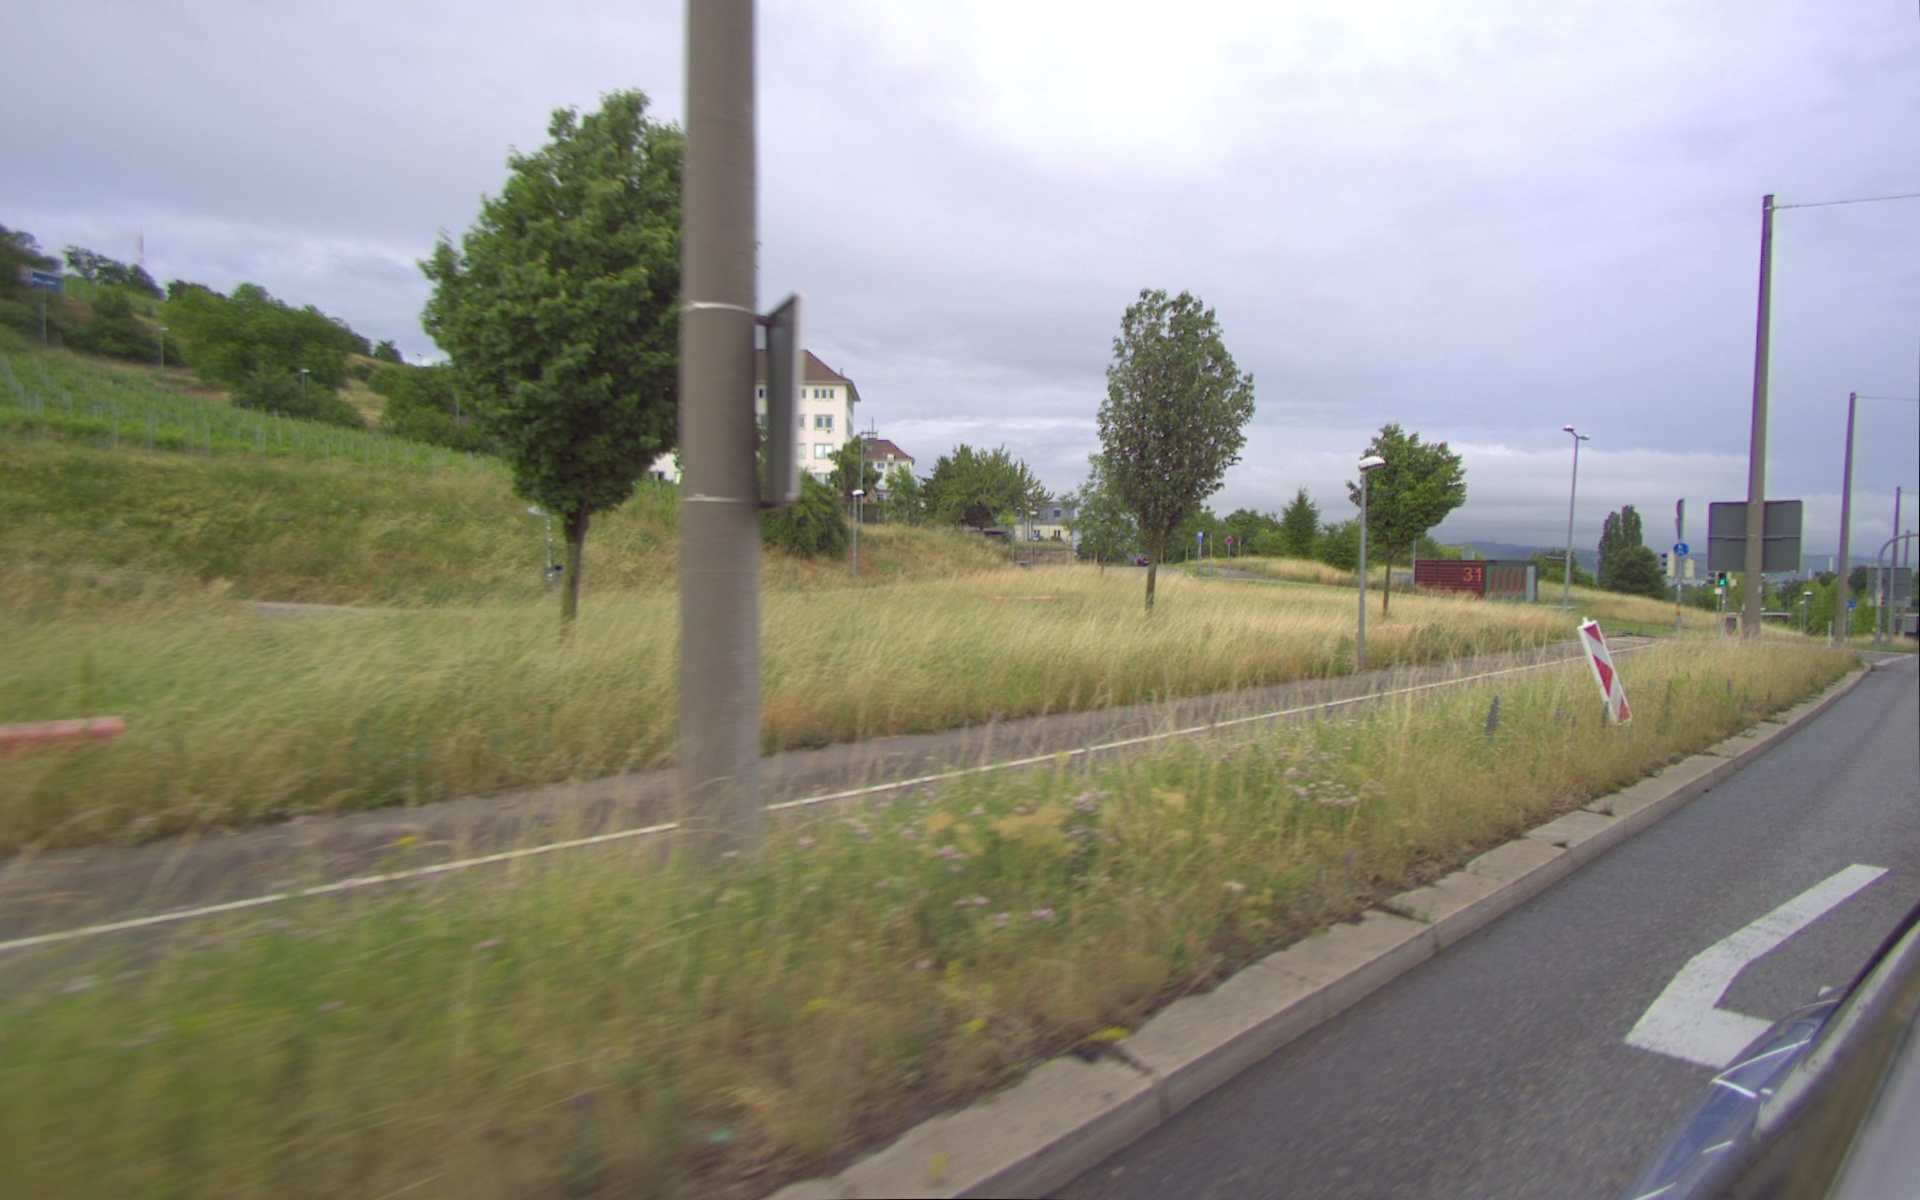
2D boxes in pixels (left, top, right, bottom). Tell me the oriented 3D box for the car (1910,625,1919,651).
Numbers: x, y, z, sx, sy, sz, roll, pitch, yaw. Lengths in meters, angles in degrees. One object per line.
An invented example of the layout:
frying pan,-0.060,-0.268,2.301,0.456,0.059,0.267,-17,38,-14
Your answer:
car,63.345,2.502,65.766,4.549,1.663,1.995,2,-2,-43
